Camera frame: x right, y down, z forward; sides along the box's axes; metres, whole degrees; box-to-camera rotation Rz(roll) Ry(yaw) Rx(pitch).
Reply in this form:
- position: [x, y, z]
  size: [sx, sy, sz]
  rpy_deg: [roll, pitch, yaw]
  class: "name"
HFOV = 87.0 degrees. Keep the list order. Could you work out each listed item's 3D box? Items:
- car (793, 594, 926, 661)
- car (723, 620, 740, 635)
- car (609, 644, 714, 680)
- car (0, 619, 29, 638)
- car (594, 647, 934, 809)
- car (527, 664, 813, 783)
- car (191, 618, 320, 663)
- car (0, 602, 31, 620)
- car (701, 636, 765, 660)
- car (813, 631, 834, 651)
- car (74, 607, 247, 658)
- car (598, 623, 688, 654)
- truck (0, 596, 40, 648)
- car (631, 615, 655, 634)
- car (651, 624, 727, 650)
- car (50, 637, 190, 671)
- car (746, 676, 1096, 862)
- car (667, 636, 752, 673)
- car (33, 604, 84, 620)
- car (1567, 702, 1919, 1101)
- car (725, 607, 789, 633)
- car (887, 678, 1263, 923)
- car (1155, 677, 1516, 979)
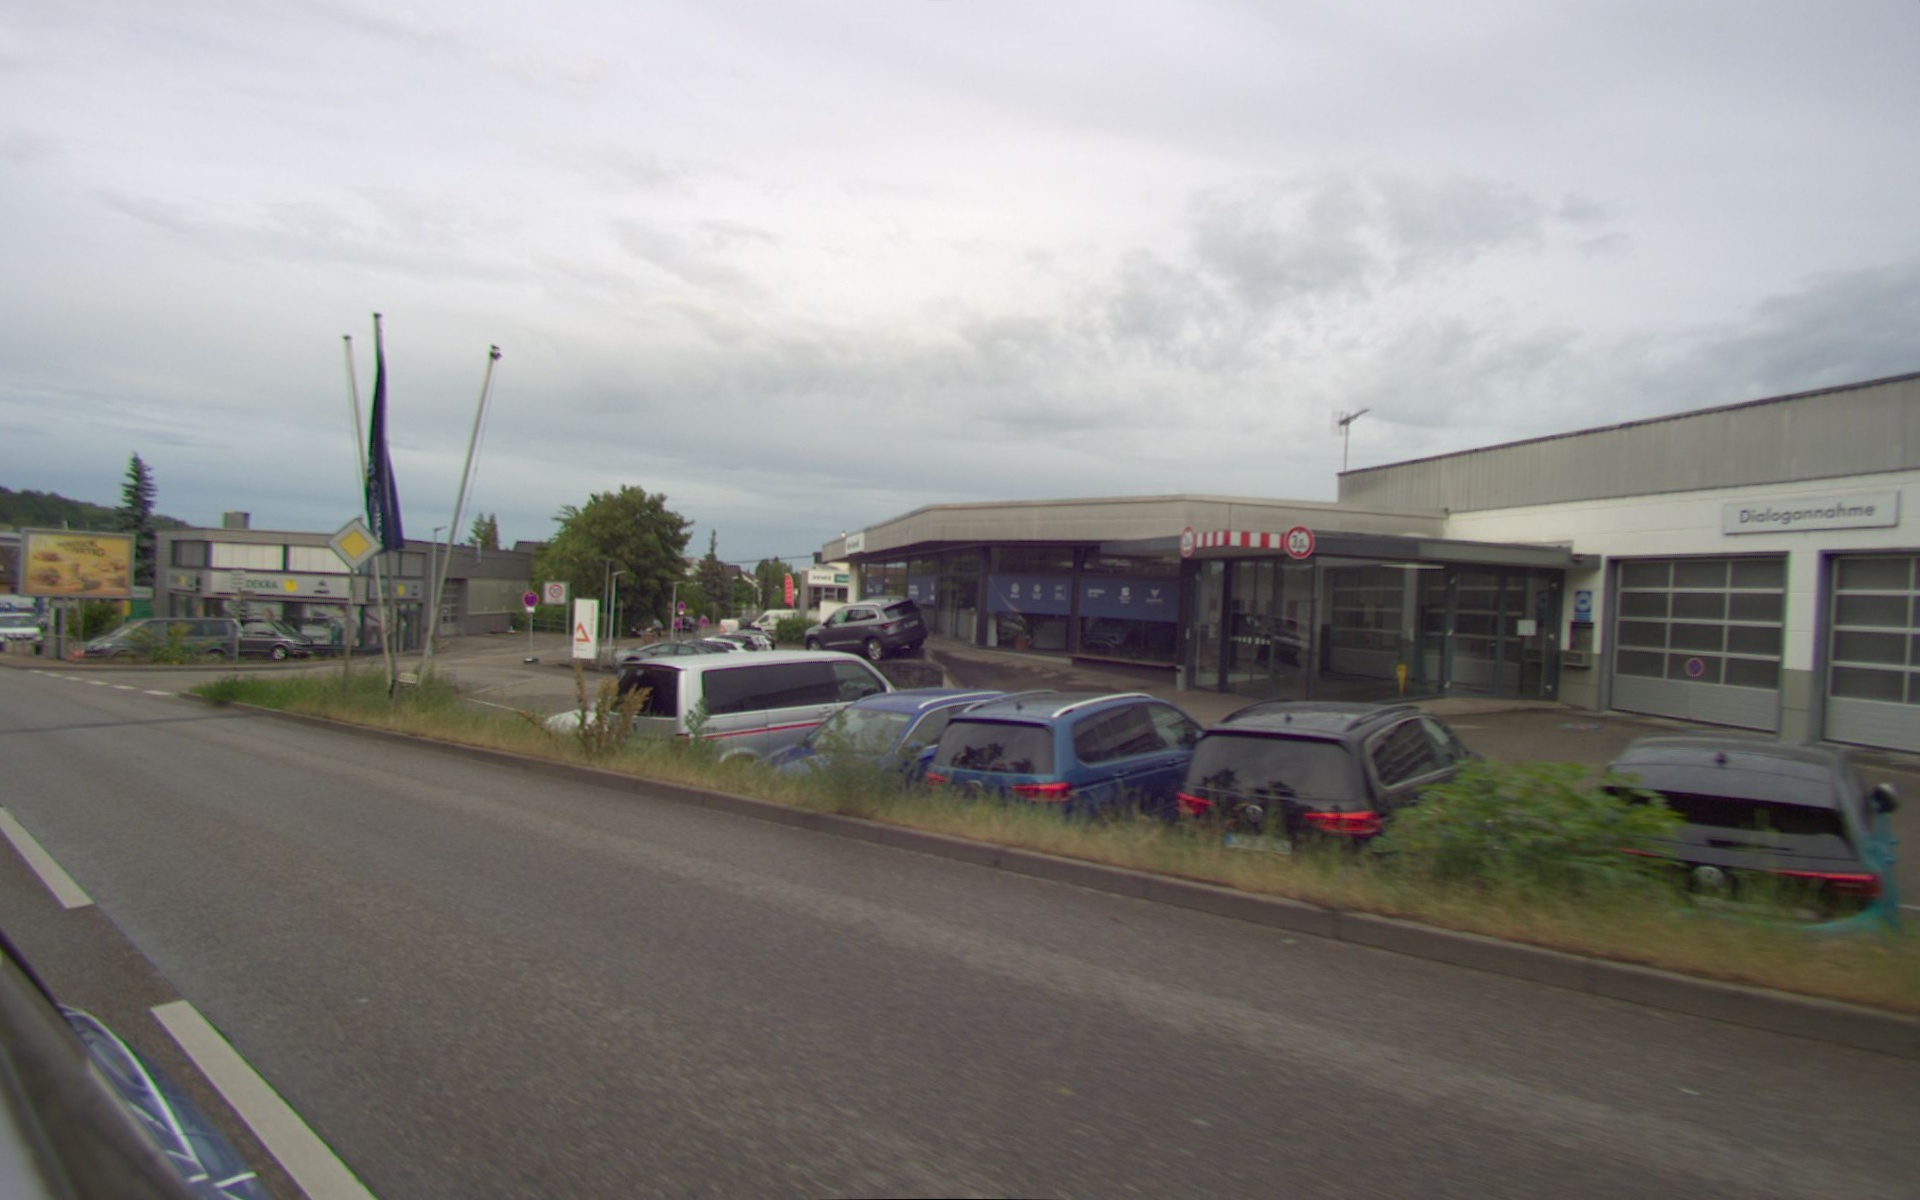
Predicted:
- position: [-2.997, 0.794, 29.597]
  size: [4.251, 1.814, 1.384]
  rpy_deg: [-1, -3, 43]
  class: "car"
- position: [-24.227, 2.933, 107.443]
  size: [1.487, 1.470, 3.441]
  rpy_deg: [1, -2, -7]
  class: "car"
- position: [-12.584, 2.588, 42.670]
  size: [4.034, 1.439, 1.896]
  rpy_deg: [1, -2, -24]
  class: "car"
- position: [-84.154, 2.513, 88.952]
  size: [1.760, 1.521, 4.056]
  rpy_deg: [2, -1, -17]
  class: "car"
- position: [-2.511, 1.569, 13.925]
  size: [1.932, 1.811, 4.368]
  rpy_deg: [-1, -3, 39]
  class: "car"
- position: [-4.391, 1.803, 15.804]
  size: [1.822, 1.489, 3.969]
  rpy_deg: [-1, -3, 39]
  class: "car"
- position: [-34.115, 1.932, 49.119]
  size: [4.803, 2.002, 2.002]
  rpy_deg: [-1, -1, -4]
  class: "car"
- position: [-114.636, 1.257, 121.098]
  size: [2.025, 2.102, 5.254]
  rpy_deg: [1, -2, 0]
  class: "car"
- position: [-13.877, 2.923, 61.831]
  size: [3.530, 1.439, 1.588]
  rpy_deg: [1, -2, -24]
  class: "car"
- position: [-10.546, 3.168, 78.374]
  size: [1.511, 1.502, 3.066]
  rpy_deg: [1, -2, -5]
  class: "car"
- position: [-31.366, 1.279, 39.890]
  size: [1.817, 1.885, 5.028]
  rpy_deg: [0, -2, 32]
  class: "car"
- position: [-15.226, 1.864, 48.559]
  size: [3.921, 1.439, 1.785]
  rpy_deg: [1, -2, -24]
  class: "car"
- position: [-52.511, 1.175, 55.252]
  size: [7.881, 2.653, 1.974]
  rpy_deg: [0, -3, 38]
  class: "truck"
- position: [-26.038, 2.031, 83.191]
  size: [1.384, 1.559, 3.220]
  rpy_deg: [1, -2, -7]
  class: "car"
- position: [-15.524, 2.134, 57.902]
  size: [3.921, 1.439, 1.850]
  rpy_deg: [1, -2, -24]
  class: "car"
- position: [-34.357, 2.170, 41.521]
  size: [1.761, 1.277, 4.066]
  rpy_deg: [0, -2, 28]
  class: "car"
- position: [-0.302, 1.906, 12.688]
  size: [2.000, 1.708, 4.368]
  rpy_deg: [-1, -3, 39]
  class: "car"
- position: [-12.776, 2.761, 51.676]
  size: [3.921, 1.802, 1.826]
  rpy_deg: [1, -2, -24]
  class: "car"
- position: [-114.470, 1.538, 128.618]
  size: [2.025, 1.878, 4.921]
  rpy_deg: [1, -2, 0]
  class: "car"
- position: [5.814, 1.807, 7.426]
  size: [1.872, 1.811, 4.186]
  rpy_deg: [-1, -3, 37]
  class: "car"
- position: [-19.252, 1.851, 96.302]
  size: [5.790, 2.387, 2.149]
  rpy_deg: [0, 0, -4]
  class: "car"
- position: [1.421, 1.823, 10.674]
  size: [1.999, 1.811, 4.371]
  rpy_deg: [-1, -3, 37]
  class: "car"
- position: [3.519, 1.682, 8.975]
  size: [1.872, 1.811, 4.186]
  rpy_deg: [-1, -3, 37]
  class: "car"
